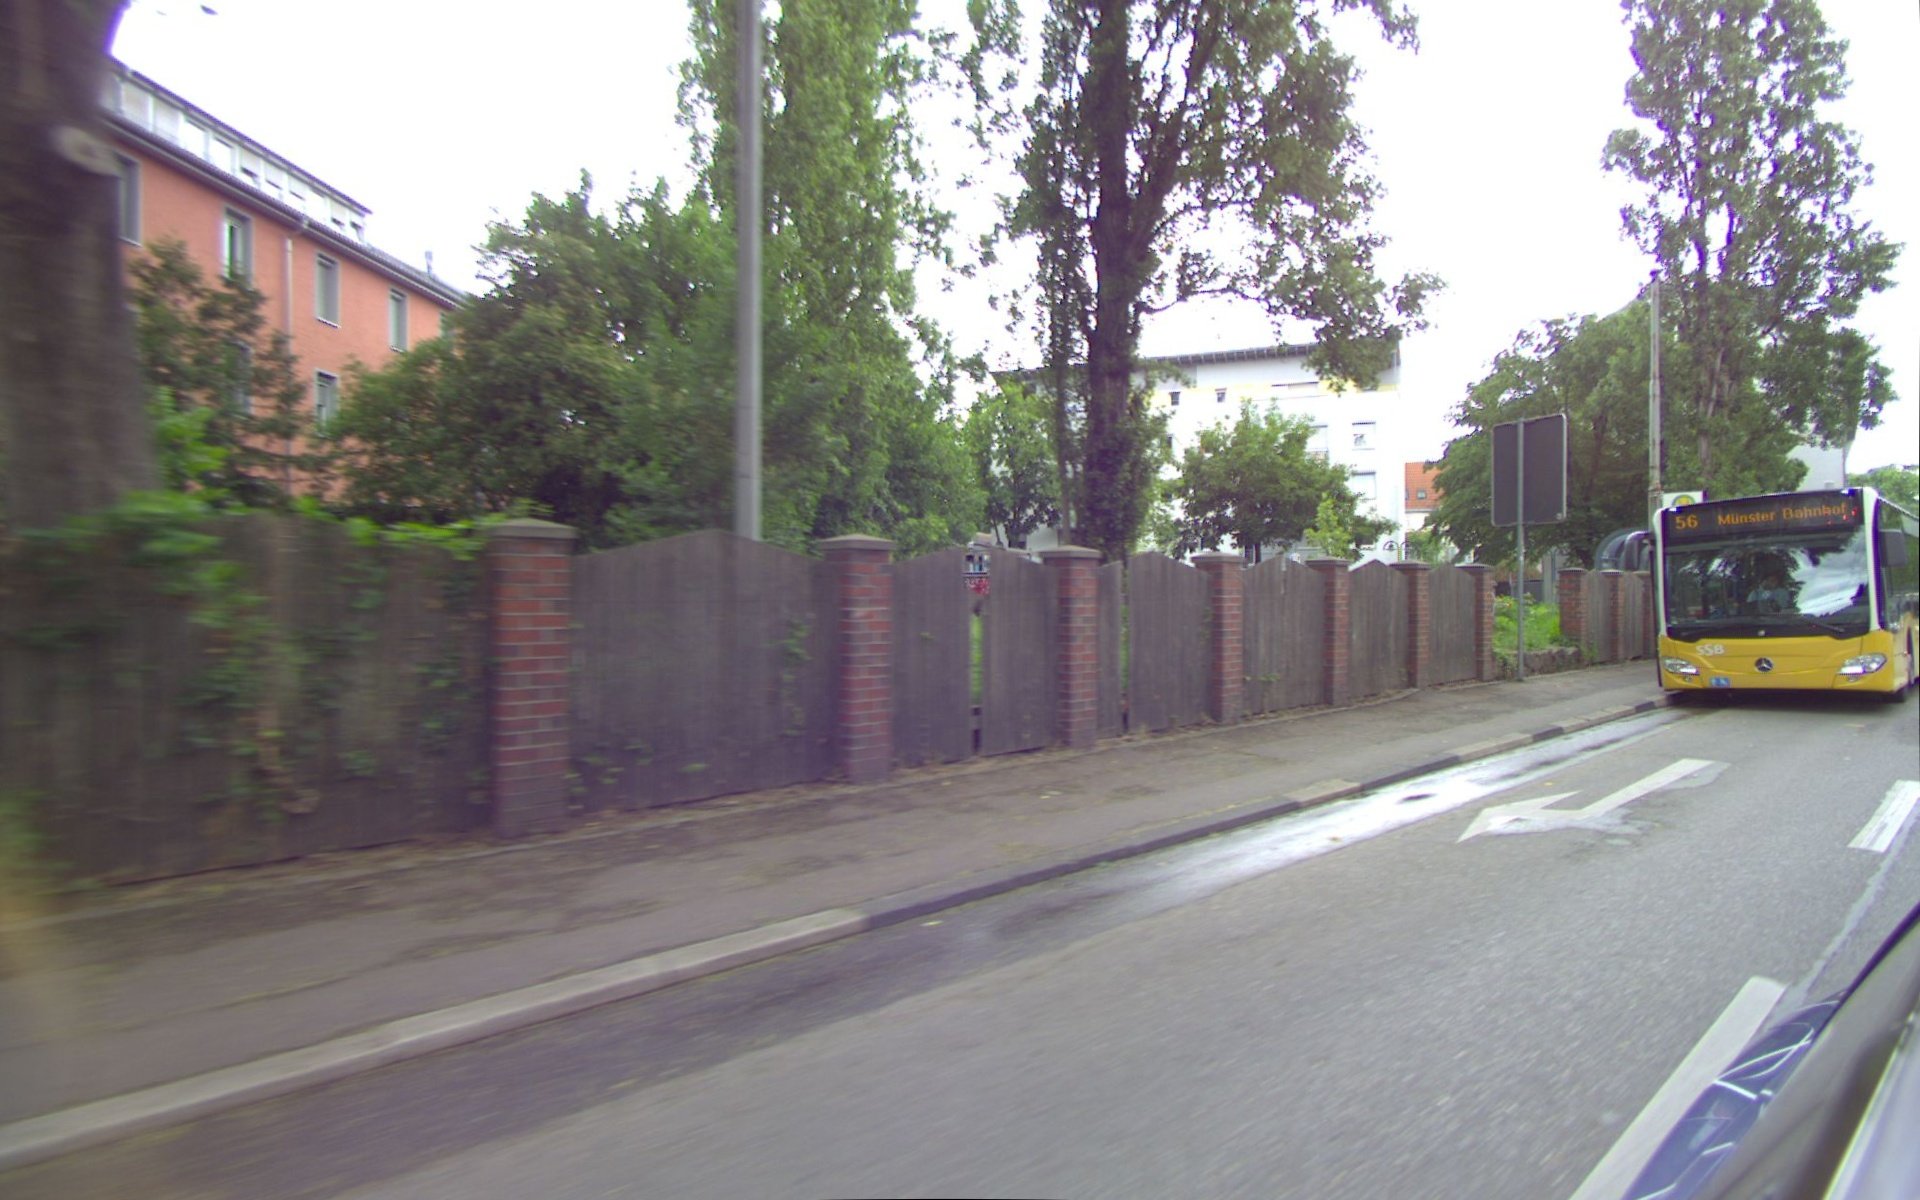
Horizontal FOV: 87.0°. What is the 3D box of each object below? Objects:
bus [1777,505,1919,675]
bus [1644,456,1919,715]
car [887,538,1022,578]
[{"bbox_3d":[21.152,-0.169,22.724,9.866,3.177,2.665,0,-3,-42],"label":"bus"},{"bbox_3d":[14.082,-0.147,16.424,9.058,3.179,2.675,0,-3,-42],"label":"bus"},{"bbox_3d":[-0.261,-1.782,43.645,5.501,1.609,1.984,0,2,25],"label":"car"}]
